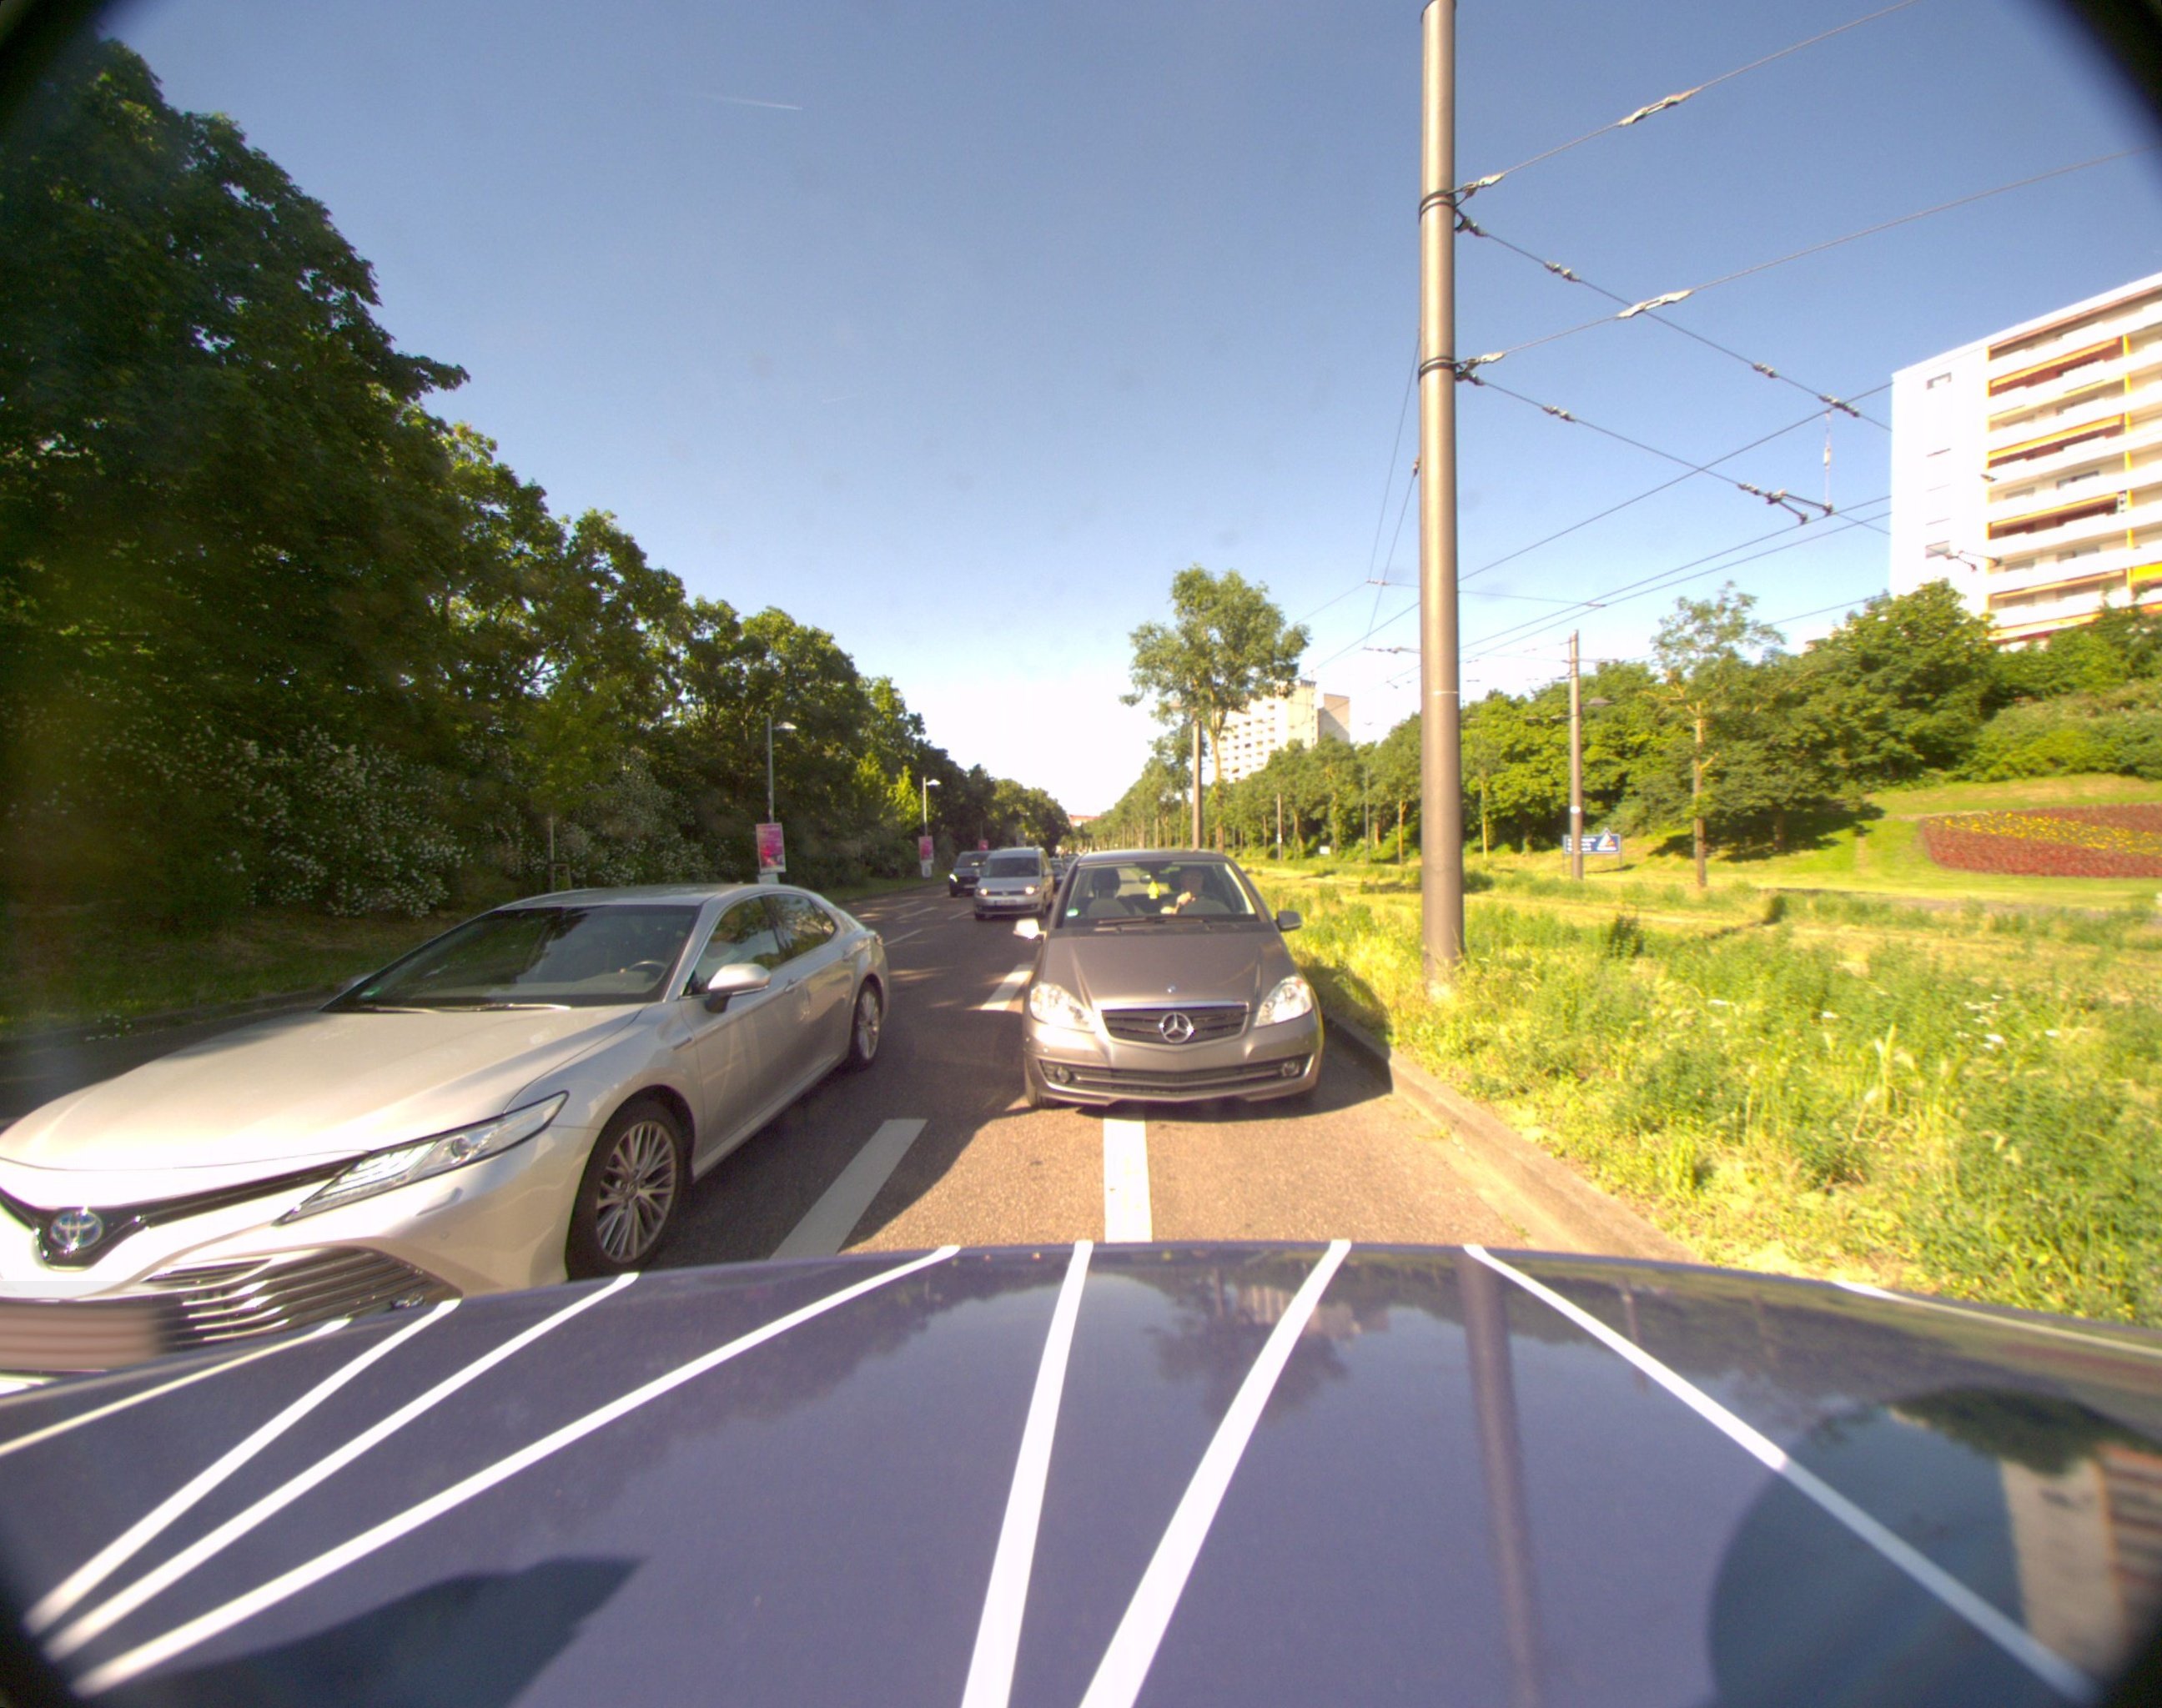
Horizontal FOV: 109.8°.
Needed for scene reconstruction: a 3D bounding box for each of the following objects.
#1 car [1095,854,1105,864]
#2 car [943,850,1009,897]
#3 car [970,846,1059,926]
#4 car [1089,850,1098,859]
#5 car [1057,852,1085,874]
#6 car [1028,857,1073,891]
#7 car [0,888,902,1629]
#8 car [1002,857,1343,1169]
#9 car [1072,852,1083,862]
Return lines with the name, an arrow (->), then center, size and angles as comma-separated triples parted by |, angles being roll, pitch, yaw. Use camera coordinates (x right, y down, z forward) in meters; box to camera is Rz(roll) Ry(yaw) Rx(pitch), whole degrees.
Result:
car -> 3.206, 0.841, 128.792 | 1.777, 1.597, 4.384 | -1, 0, 1
car -> -4.470, 0.763, 33.050 | 1.998, 1.882, 5.148 | -1, 0, 1
car -> -1.663, 0.747, 20.518 | 1.822, 1.893, 4.622 | -1, 0, 2
car -> 2.401, 0.088, 145.986 | 1.777, 1.597, 4.384 | -1, 0, 1
car -> -0.643, 0.605, 52.992 | 1.776, 1.395, 4.067 | -1, 0, 2
car -> -1.331, 0.886, 34.607 | 1.776, 1.395, 4.067 | -1, 0, 2
car -> -2.646, 1.044, 4.120 | 2.069, 1.451, 4.749 | -1, 0, 2
car -> 0.514, 0.851, 6.204 | 1.777, 1.597, 4.384 | -1, 0, 1
car -> -0.557, 0.539, 125.676 | 1.777, 1.597, 4.384 | -1, 0, 1
